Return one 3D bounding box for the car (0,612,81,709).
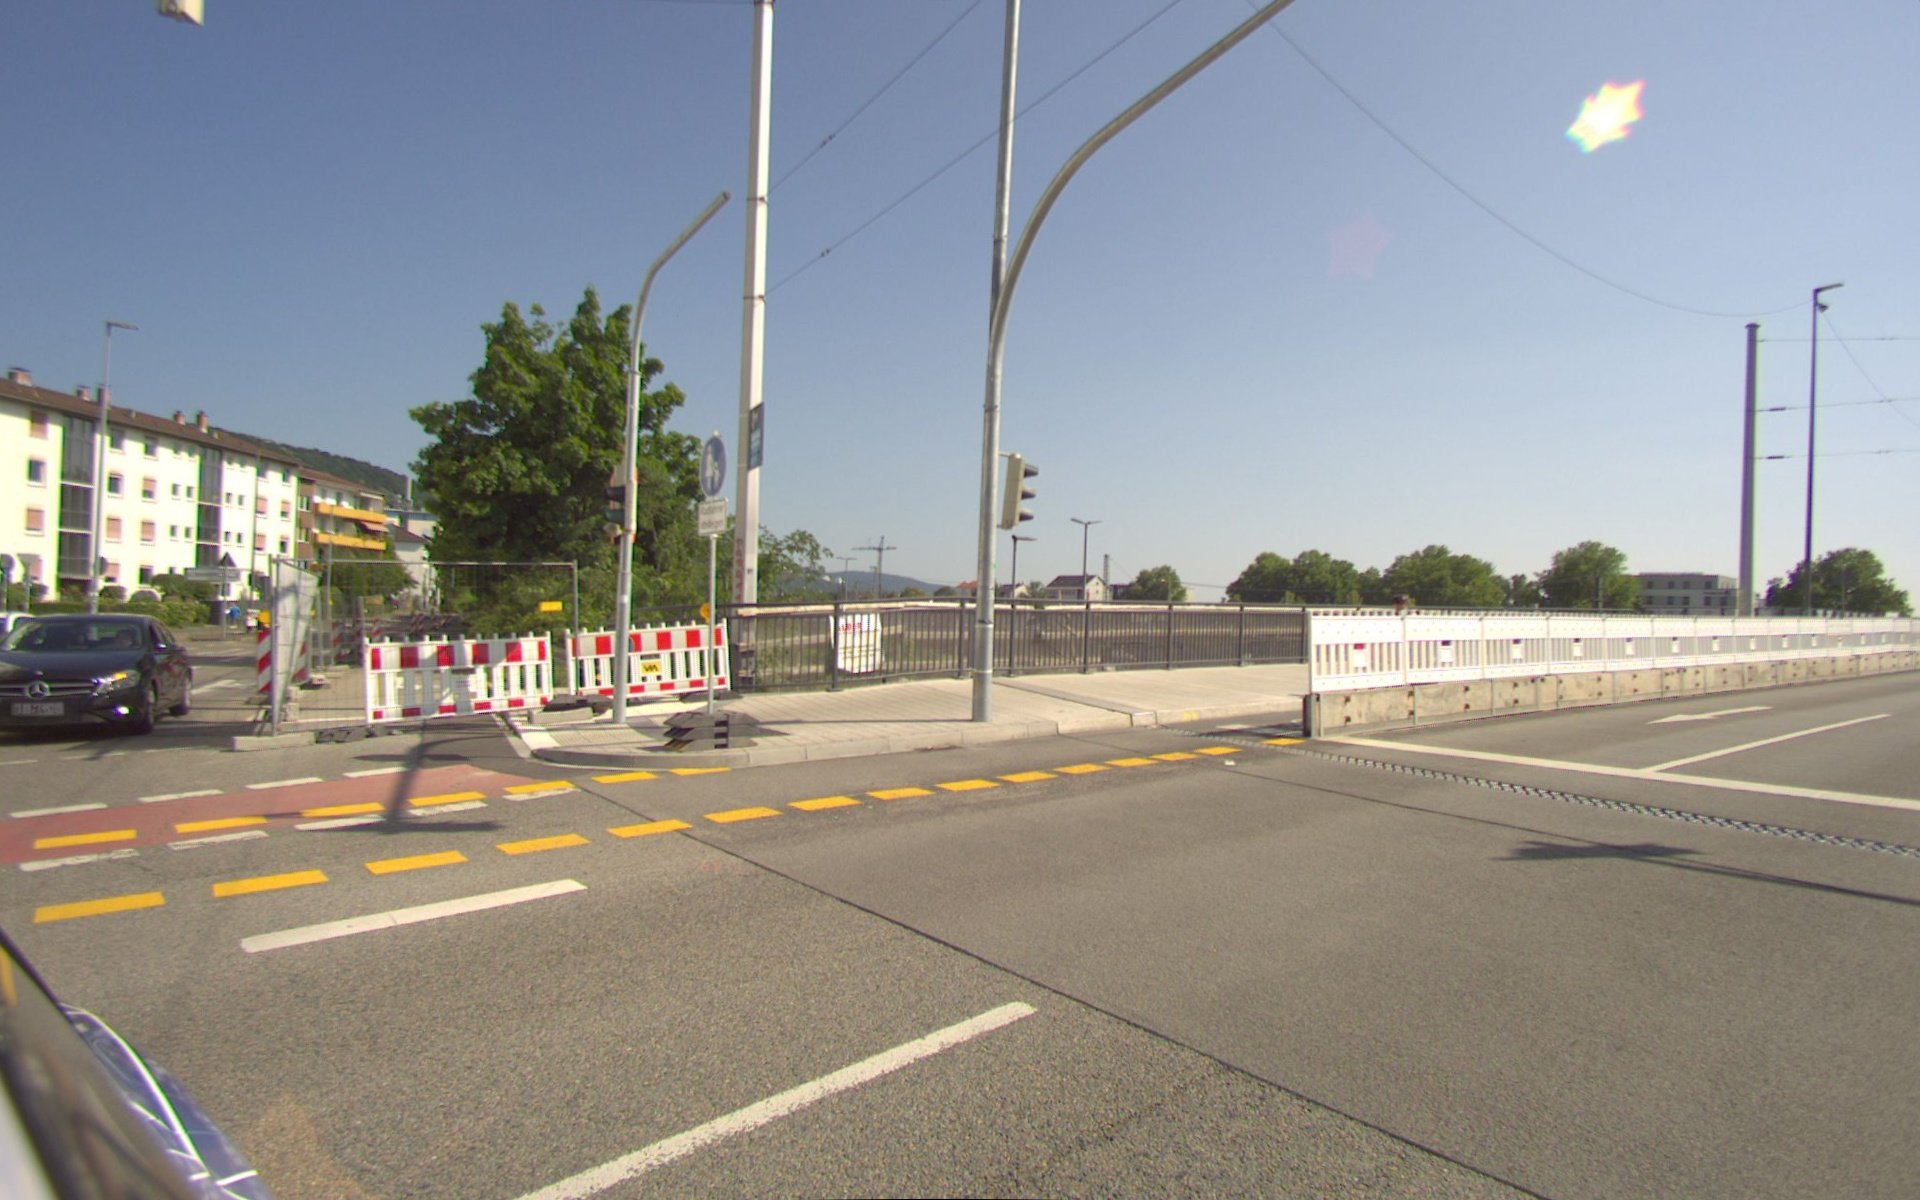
[{"bbox_3d":[-15.815,0.912,16.187,1.673,1.423,4.500,1,-1,-28],"label":"car"}]

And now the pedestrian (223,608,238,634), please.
[{"bbox_3d":[-44.741,1.285,62.065,0.597,1.520,0.773,1,0,-24],"label":"pedestrian"}]

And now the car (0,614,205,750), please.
[{"bbox_3d":[-10.905,0.904,12.724,1.674,1.419,4.637,2,-2,-30],"label":"car"}]
